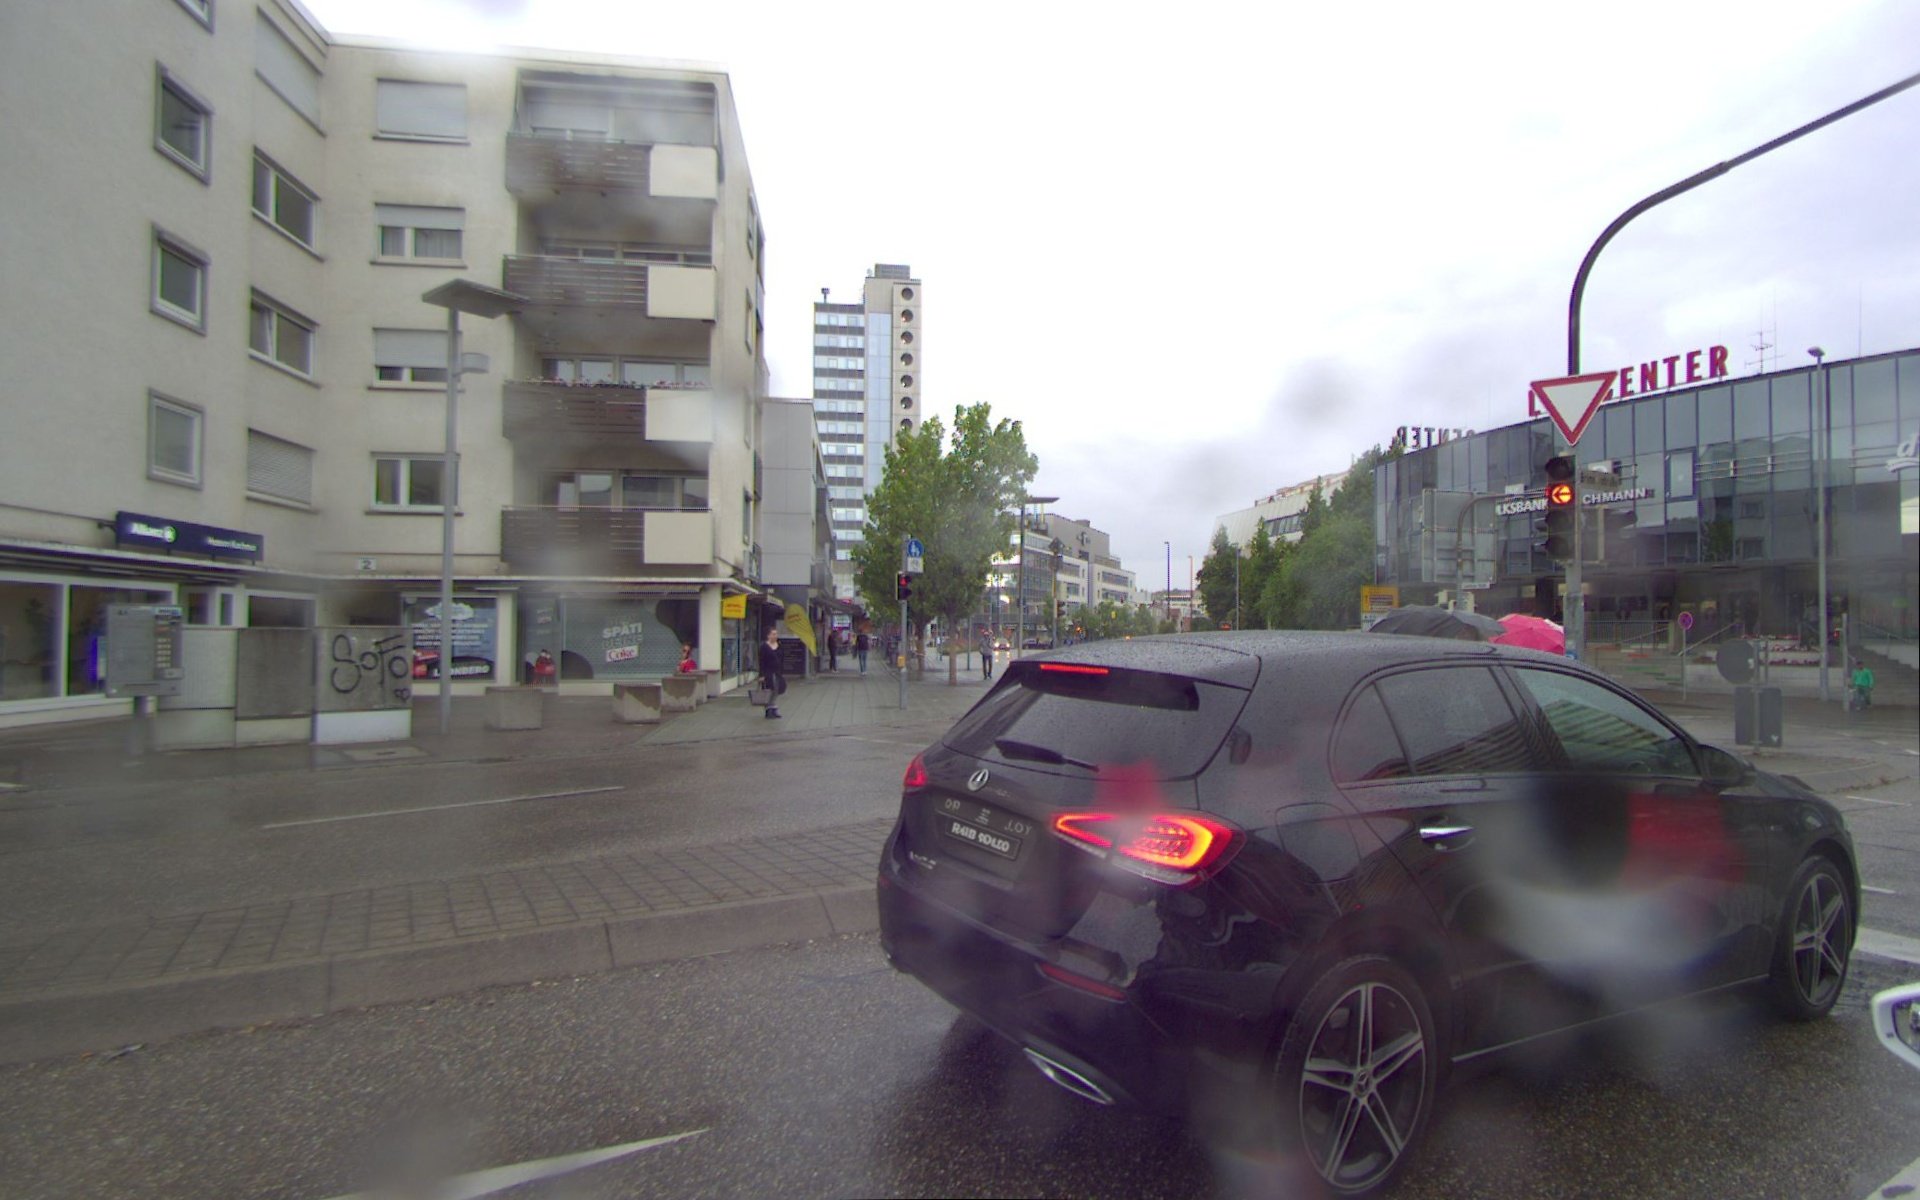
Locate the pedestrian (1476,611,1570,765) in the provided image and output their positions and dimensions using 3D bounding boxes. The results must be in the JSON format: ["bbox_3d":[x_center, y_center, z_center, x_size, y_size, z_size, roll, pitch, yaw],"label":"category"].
[{"bbox_3d":[6.506,0.995,11.647,0.790,1.707,0.674,0,-2,15],"label":"pedestrian"}]

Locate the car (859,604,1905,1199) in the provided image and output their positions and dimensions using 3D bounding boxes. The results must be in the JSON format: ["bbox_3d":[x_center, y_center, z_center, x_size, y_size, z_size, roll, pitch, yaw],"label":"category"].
[{"bbox_3d":[1.796,0.796,3.889,4.046,1.501,1.654,1,0,-31],"label":"car"}]

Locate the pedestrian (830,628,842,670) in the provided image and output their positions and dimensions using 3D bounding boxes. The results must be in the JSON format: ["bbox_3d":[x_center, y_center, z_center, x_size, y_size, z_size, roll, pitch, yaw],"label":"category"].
[{"bbox_3d":[-5.206,2.043,42.015,0.441,1.746,0.499,1,-2,-11],"label":"pedestrian"}]

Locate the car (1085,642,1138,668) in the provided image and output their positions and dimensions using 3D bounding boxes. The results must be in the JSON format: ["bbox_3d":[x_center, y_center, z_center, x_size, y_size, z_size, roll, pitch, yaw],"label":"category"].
[{"bbox_3d":[9.002,3.258,59.894,1.717,1.460,3.982,1,-2,-14],"label":"car"}]

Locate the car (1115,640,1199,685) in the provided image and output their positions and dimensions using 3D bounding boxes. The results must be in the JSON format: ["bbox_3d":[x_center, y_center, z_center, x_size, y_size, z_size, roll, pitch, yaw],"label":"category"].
[{"bbox_3d":[7.029,2.230,36.424,2.081,1.432,5.148,2,-2,1],"label":"car"}]

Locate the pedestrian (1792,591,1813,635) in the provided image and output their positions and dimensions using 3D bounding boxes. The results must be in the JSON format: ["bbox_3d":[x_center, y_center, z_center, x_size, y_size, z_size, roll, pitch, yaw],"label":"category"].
[{"bbox_3d":[35.410,0.545,42.208,0.626,1.831,0.501,2,0,45],"label":"pedestrian"}]

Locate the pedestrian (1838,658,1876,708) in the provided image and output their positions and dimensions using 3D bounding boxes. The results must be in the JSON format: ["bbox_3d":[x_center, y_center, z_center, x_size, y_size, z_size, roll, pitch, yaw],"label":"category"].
[{"bbox_3d":[30.602,2.820,34.256,0.939,1.644,0.805,-1,-3,43],"label":"pedestrian"}]

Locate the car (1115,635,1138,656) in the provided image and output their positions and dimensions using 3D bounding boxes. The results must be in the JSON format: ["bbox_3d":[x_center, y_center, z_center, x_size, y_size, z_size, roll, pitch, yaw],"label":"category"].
[{"bbox_3d":[16.027,4.382,96.770,2.008,1.921,4.142,1,-1,8],"label":"car"}]

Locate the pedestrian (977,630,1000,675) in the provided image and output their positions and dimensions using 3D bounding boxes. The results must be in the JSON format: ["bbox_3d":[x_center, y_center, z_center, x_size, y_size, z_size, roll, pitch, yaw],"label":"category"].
[{"bbox_3d":[1.064,1.980,37.992,0.799,1.677,0.715,1,-2,-2],"label":"pedestrian"}]

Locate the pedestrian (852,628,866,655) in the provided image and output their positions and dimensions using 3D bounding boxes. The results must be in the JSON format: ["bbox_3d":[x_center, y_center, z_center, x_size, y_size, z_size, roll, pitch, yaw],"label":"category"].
[{"bbox_3d":[-6.851,2.813,67.956,0.858,1.835,0.924,1,-2,-9],"label":"pedestrian"}]

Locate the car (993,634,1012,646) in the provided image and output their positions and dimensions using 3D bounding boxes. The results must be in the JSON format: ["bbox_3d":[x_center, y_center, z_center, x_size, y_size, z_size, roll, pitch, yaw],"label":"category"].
[{"bbox_3d":[4.791,4.509,113.505,1.414,1.314,3.771,2,-1,-9],"label":"car"}]

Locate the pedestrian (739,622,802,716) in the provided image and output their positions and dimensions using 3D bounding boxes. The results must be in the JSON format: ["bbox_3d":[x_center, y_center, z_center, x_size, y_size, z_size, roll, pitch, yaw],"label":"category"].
[{"bbox_3d":[-3.361,1.214,17.851,0.904,1.606,0.652,2,-2,-32],"label":"pedestrian"}]

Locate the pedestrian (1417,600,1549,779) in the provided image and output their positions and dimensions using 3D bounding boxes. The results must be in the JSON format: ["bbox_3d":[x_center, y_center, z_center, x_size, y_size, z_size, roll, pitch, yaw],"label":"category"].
[{"bbox_3d":[5.490,0.915,10.616,0.842,1.767,1.139,1,-2,4],"label":"pedestrian"}]

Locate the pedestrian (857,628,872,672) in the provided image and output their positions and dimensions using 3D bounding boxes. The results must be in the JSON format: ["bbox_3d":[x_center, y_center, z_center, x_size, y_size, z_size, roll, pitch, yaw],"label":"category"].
[{"bbox_3d":[-3.938,2.054,41.265,0.557,1.817,0.491,1,-2,-3],"label":"pedestrian"}]

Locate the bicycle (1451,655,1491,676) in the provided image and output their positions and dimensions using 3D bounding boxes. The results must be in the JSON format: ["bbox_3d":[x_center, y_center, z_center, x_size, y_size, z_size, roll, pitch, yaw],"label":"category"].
[{"bbox_3d":[26.680,3.413,52.466,1.821,1.056,0.646,-1,-2,-10],"label":"bicycle"}]

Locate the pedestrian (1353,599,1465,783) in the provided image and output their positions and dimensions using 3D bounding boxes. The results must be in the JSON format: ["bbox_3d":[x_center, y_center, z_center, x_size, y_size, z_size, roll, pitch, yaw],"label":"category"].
[{"bbox_3d":[4.561,0.890,10.193,0.937,1.759,0.835,0,-3,32],"label":"pedestrian"}]

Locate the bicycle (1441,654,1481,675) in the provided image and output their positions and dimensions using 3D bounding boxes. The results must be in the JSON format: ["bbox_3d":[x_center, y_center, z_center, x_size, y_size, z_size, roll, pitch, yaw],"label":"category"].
[{"bbox_3d":[26.543,3.422,53.212,1.821,1.047,0.628,-1,-2,-10],"label":"bicycle"}]

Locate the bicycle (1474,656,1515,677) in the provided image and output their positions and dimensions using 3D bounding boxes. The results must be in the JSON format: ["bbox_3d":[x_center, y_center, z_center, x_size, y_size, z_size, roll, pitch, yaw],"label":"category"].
[{"bbox_3d":[27.045,3.364,50.834,1.821,1.036,0.631,-1,-2,-10],"label":"bicycle"}]

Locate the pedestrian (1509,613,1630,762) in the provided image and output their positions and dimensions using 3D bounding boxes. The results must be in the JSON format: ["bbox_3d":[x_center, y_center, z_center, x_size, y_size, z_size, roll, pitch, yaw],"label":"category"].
[{"bbox_3d":[7.317,1.020,12.078,0.905,1.699,0.931,2,-2,-29],"label":"pedestrian"}]
